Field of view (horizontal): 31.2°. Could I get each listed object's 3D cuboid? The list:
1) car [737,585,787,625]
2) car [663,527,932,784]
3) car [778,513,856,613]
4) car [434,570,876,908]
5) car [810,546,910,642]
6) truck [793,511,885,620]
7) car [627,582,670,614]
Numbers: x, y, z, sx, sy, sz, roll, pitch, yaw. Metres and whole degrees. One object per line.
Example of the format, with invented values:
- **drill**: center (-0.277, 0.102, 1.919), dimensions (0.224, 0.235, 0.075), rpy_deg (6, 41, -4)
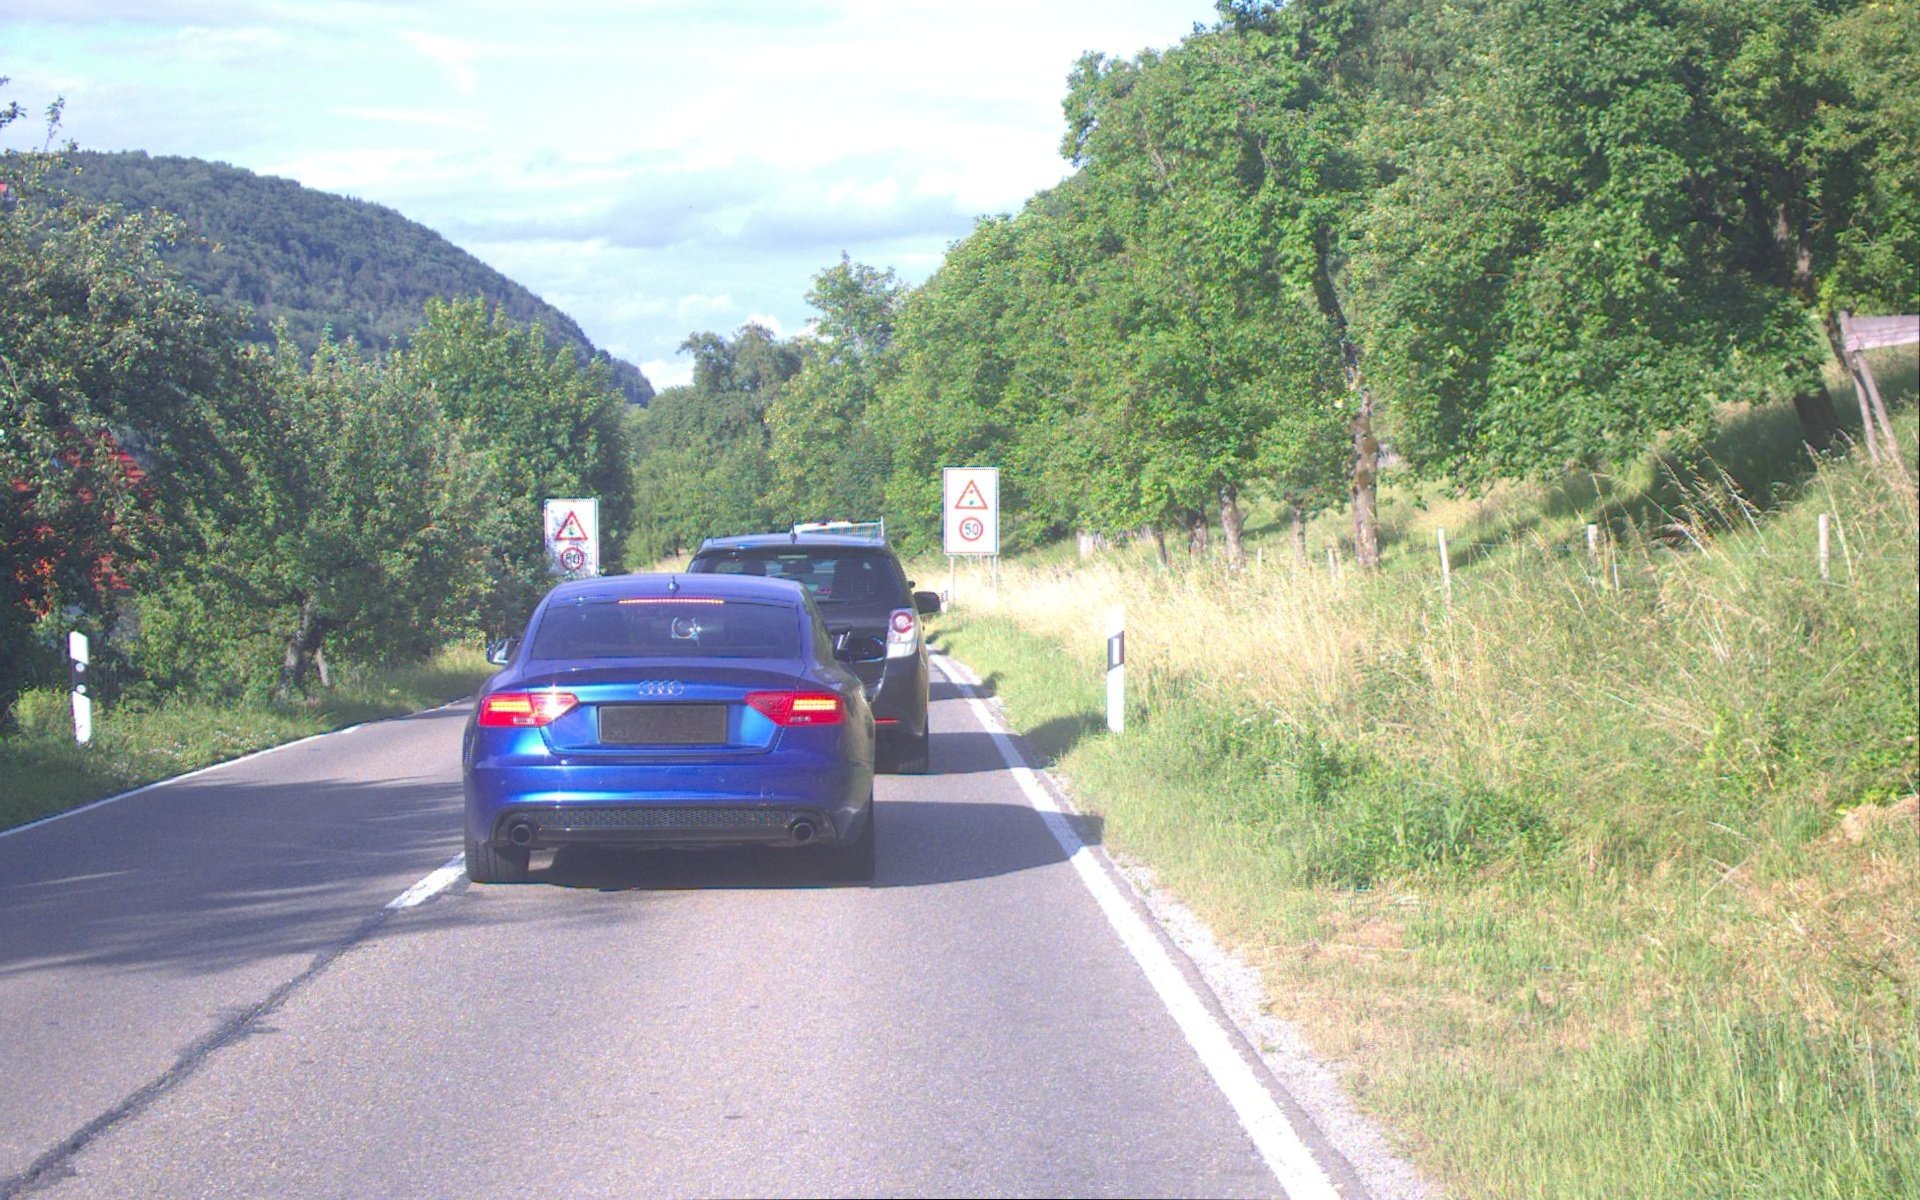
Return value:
- **car**: center (-7.931, 0.184, 137.502), dimensions (1.558, 1.490, 3.779), rpy_deg (1, 1, -10)
- **car**: center (-1.090, 0.321, 23.663), dimensions (1.692, 1.618, 3.789), rpy_deg (0, 1, -2)
- **car**: center (-3.677, -0.950, 87.619), dimensions (1.792, 2.445, 3.920), rpy_deg (1, 1, -5)
- **car**: center (-1.307, 0.559, 16.272), dimensions (1.805, 1.377, 4.215), rpy_deg (0, 0, -1)
- **car**: center (-1.767, -0.127, 60.459), dimensions (1.692, 1.618, 3.789), rpy_deg (0, 1, -2)
- **truck**: center (-2.735, -0.787, 77.141), dimensions (1.949, 2.337, 5.094), rpy_deg (1, 1, -2)
- **car**: center (-15.422, -0.091, 170.213), dimensions (1.558, 1.490, 3.779), rpy_deg (1, 1, -14)
